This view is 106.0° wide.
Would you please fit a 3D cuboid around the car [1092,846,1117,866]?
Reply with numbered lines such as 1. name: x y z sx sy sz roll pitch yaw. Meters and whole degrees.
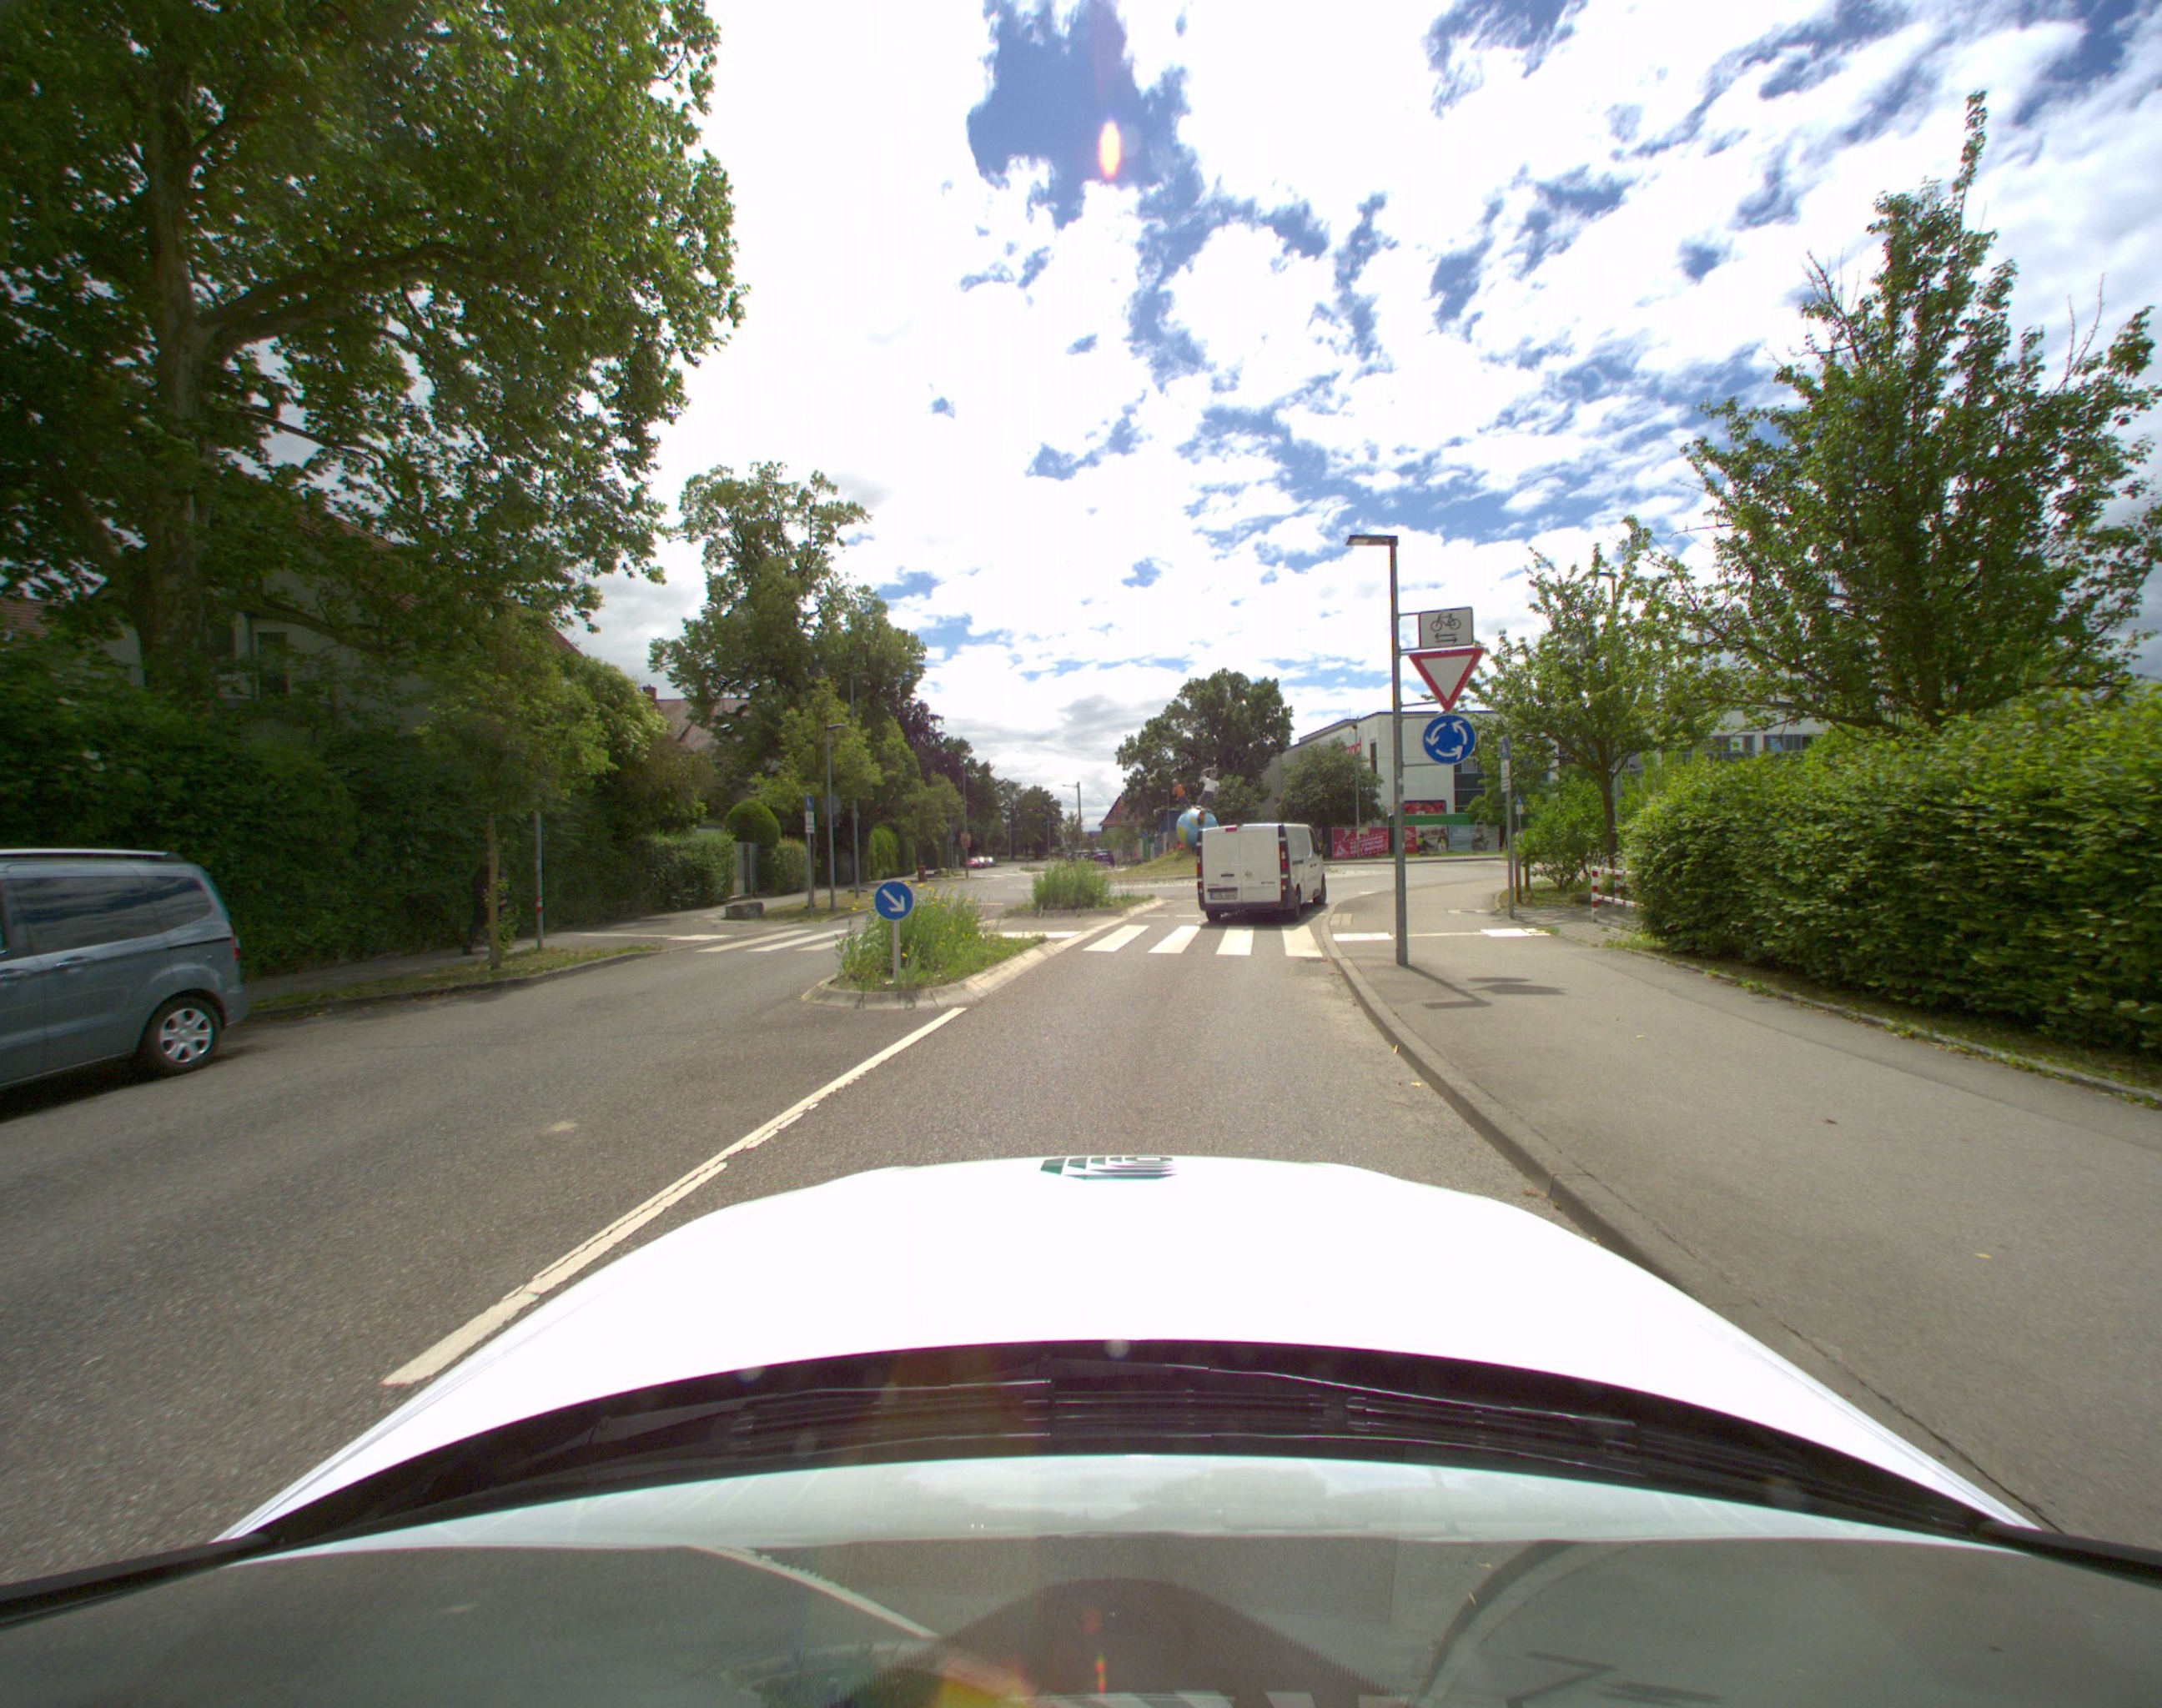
1. car: 1.982 0.160 68.786 1.927 1.537 3.924 -1 1 -1

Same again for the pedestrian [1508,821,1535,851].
1. pedestrian: 22.993 -0.956 42.496 1.024 1.541 0.900 1 1 44

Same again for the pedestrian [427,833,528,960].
1. pedestrian: -10.148 0.686 13.734 0.871 2.013 1.038 -3 0 -7

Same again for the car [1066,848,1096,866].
1. car: 0.002 0.280 76.556 1.922 1.500 3.907 -2 1 -13

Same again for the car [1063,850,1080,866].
1. car: -1.078 0.445 94.715 1.892 1.744 3.923 -1 1 -1

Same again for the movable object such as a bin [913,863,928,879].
1. movable object such as a bin: -9.253 1.000 47.077 0.626 0.863 0.641 -3 0 8

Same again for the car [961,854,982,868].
1. car: -12.689 0.775 94.174 2.064 1.386 4.031 -2 1 -12

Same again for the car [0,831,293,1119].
1. car: -7.711 0.742 4.869 2.132 1.772 4.450 0 1 -10

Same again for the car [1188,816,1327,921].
1. car: 4.020 0.230 17.798 2.016 1.945 5.021 1 1 23
